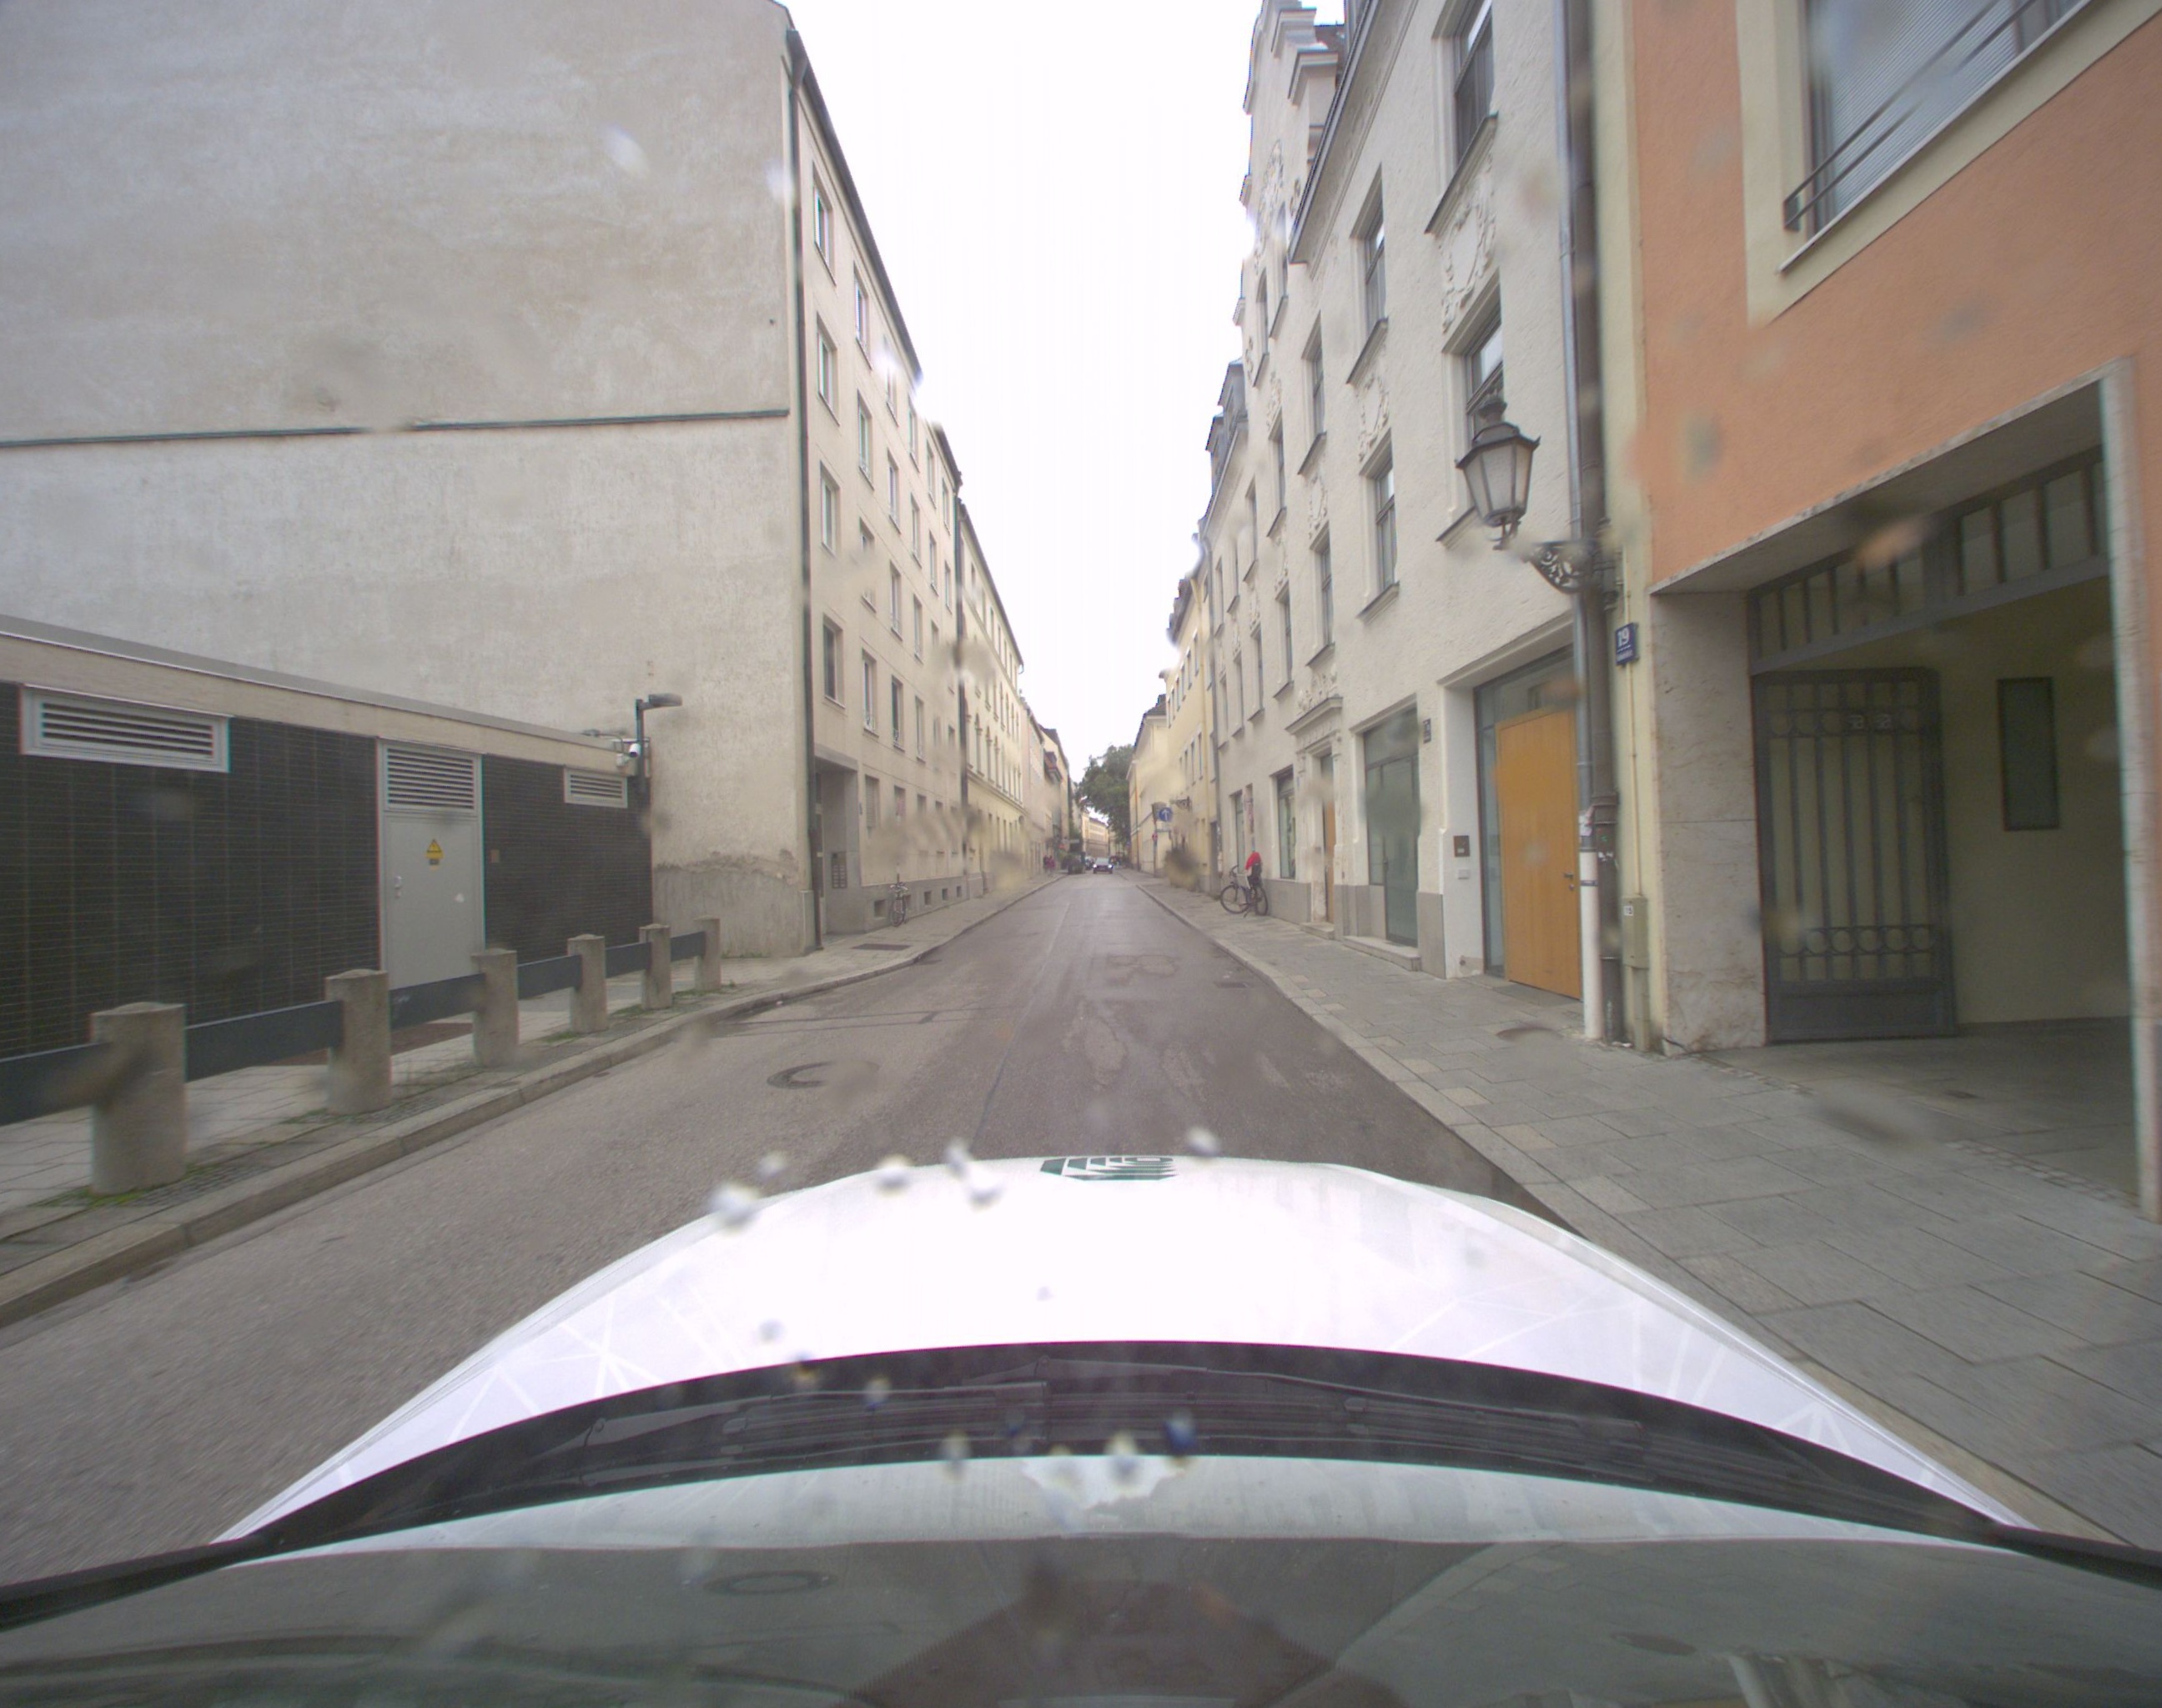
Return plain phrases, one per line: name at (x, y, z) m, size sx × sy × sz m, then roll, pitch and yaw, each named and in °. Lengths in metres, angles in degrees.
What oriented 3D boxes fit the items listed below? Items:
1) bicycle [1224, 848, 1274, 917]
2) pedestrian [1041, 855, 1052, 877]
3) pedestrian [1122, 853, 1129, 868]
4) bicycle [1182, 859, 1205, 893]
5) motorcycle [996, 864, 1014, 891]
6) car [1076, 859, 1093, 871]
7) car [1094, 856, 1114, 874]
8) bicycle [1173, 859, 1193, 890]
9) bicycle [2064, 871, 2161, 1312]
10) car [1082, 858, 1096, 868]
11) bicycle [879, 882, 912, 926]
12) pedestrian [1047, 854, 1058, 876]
bicycle at (3.720, 0.603, 18.210) m, size 0.710 × 1.396 × 2.124 m, roll -4°, pitch 0°, yaw 4°
pedestrian at (-2.849, 0.950, 67.038) m, size 0.807 × 1.755 × 0.989 m, roll -1°, pitch 1°, yaw -1°
pedestrian at (5.367, 0.809, 98.281) m, size 0.877 × 1.802 × 1.046 m, roll -1°, pitch -1°, yaw 2°
bicycle at (4.046, 0.772, 29.294) m, size 0.563 × 1.137 × 1.989 m, roll -4°, pitch 0°, yaw 2°
motorcycle at (-3.504, 1.056, 37.461) m, size 0.600 × 1.174 × 1.709 m, roll -1°, pitch 0°, yaw 2°
car at (0.435, 1.358, 100.668) m, size 1.771 × 1.466 × 3.667 m, roll -1°, pitch 0°, yaw 4°
car at (2.209, 1.015, 77.569) m, size 1.806 × 1.594 × 4.001 m, roll -2°, pitch 0°, yaw 1°
bicycle at (3.934, 0.772, 31.516) m, size 0.563 × 1.137 × 1.685 m, roll -4°, pitch 0°, yaw 2°
bicycle at (3.317, 0.671, 1.265) m, size 0.676 × 1.240 × 2.384 m, roll -6°, pitch 0°, yaw 3°
car at (1.177, 1.352, 120.795) m, size 1.771 × 1.466 × 3.546 m, roll -1°, pitch 0°, yaw 4°
bicycle at (-4.357, 1.151, 19.238) m, size 0.318 × 0.944 × 1.575 m, roll 1°, pitch 0°, yaw 3°
pedestrian at (-2.242, 0.845, 63.708) m, size 0.763 × 1.708 × 0.785 m, roll -2°, pitch -1°, yaw -1°
